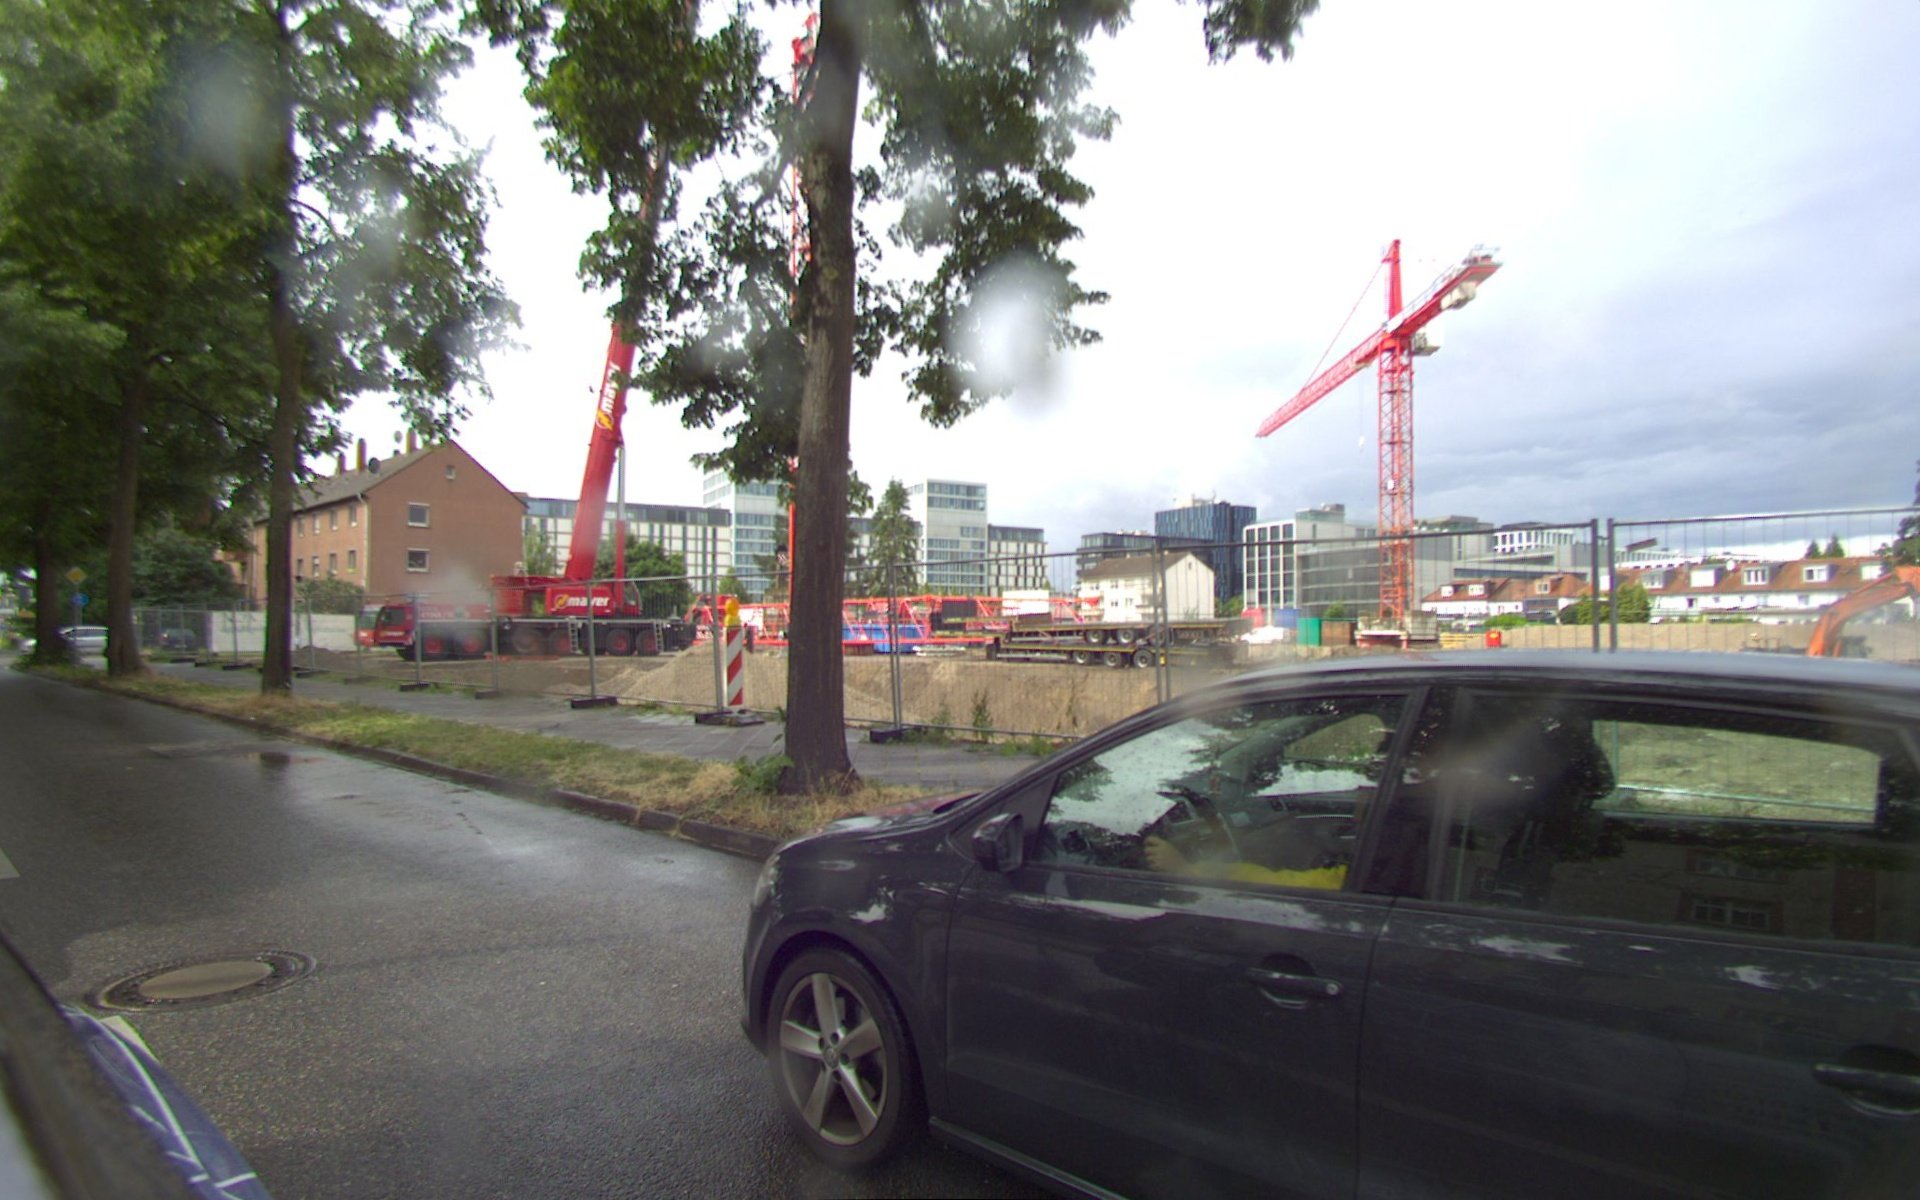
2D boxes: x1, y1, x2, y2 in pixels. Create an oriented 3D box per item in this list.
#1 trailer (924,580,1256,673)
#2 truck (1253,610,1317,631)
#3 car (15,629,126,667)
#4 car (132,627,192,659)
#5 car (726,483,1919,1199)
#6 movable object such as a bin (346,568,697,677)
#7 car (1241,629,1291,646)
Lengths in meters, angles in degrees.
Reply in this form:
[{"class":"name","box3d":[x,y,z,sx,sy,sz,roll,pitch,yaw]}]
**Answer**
[{"class":"trailer","box3d":[4.779,0.996,41.760,14.302,3.257,2.930,-1,2,41]},{"class":"truck","box3d":[34.341,2.158,107.110,6.292,2.095,1.884,-1,0,25]},{"class":"car","box3d":[-41.233,2.179,46.959,3.815,1.564,1.699,-1,0,-44]},{"class":"car","box3d":[-41.869,2.244,53.083,3.996,1.541,1.672,-1,0,39]},{"class":"car","box3d":[1.428,0.677,2.272,3.980,1.552,1.794,-1,-4,41]},{"class":"movable object such as a bin","box3d":[-20.553,0.896,49.291,3.102,4.592,15.727,-1,0,44]},{"class":"car","box3d":[31.033,3.798,102.613,4.582,1.529,1.797,-1,0,44]}]
